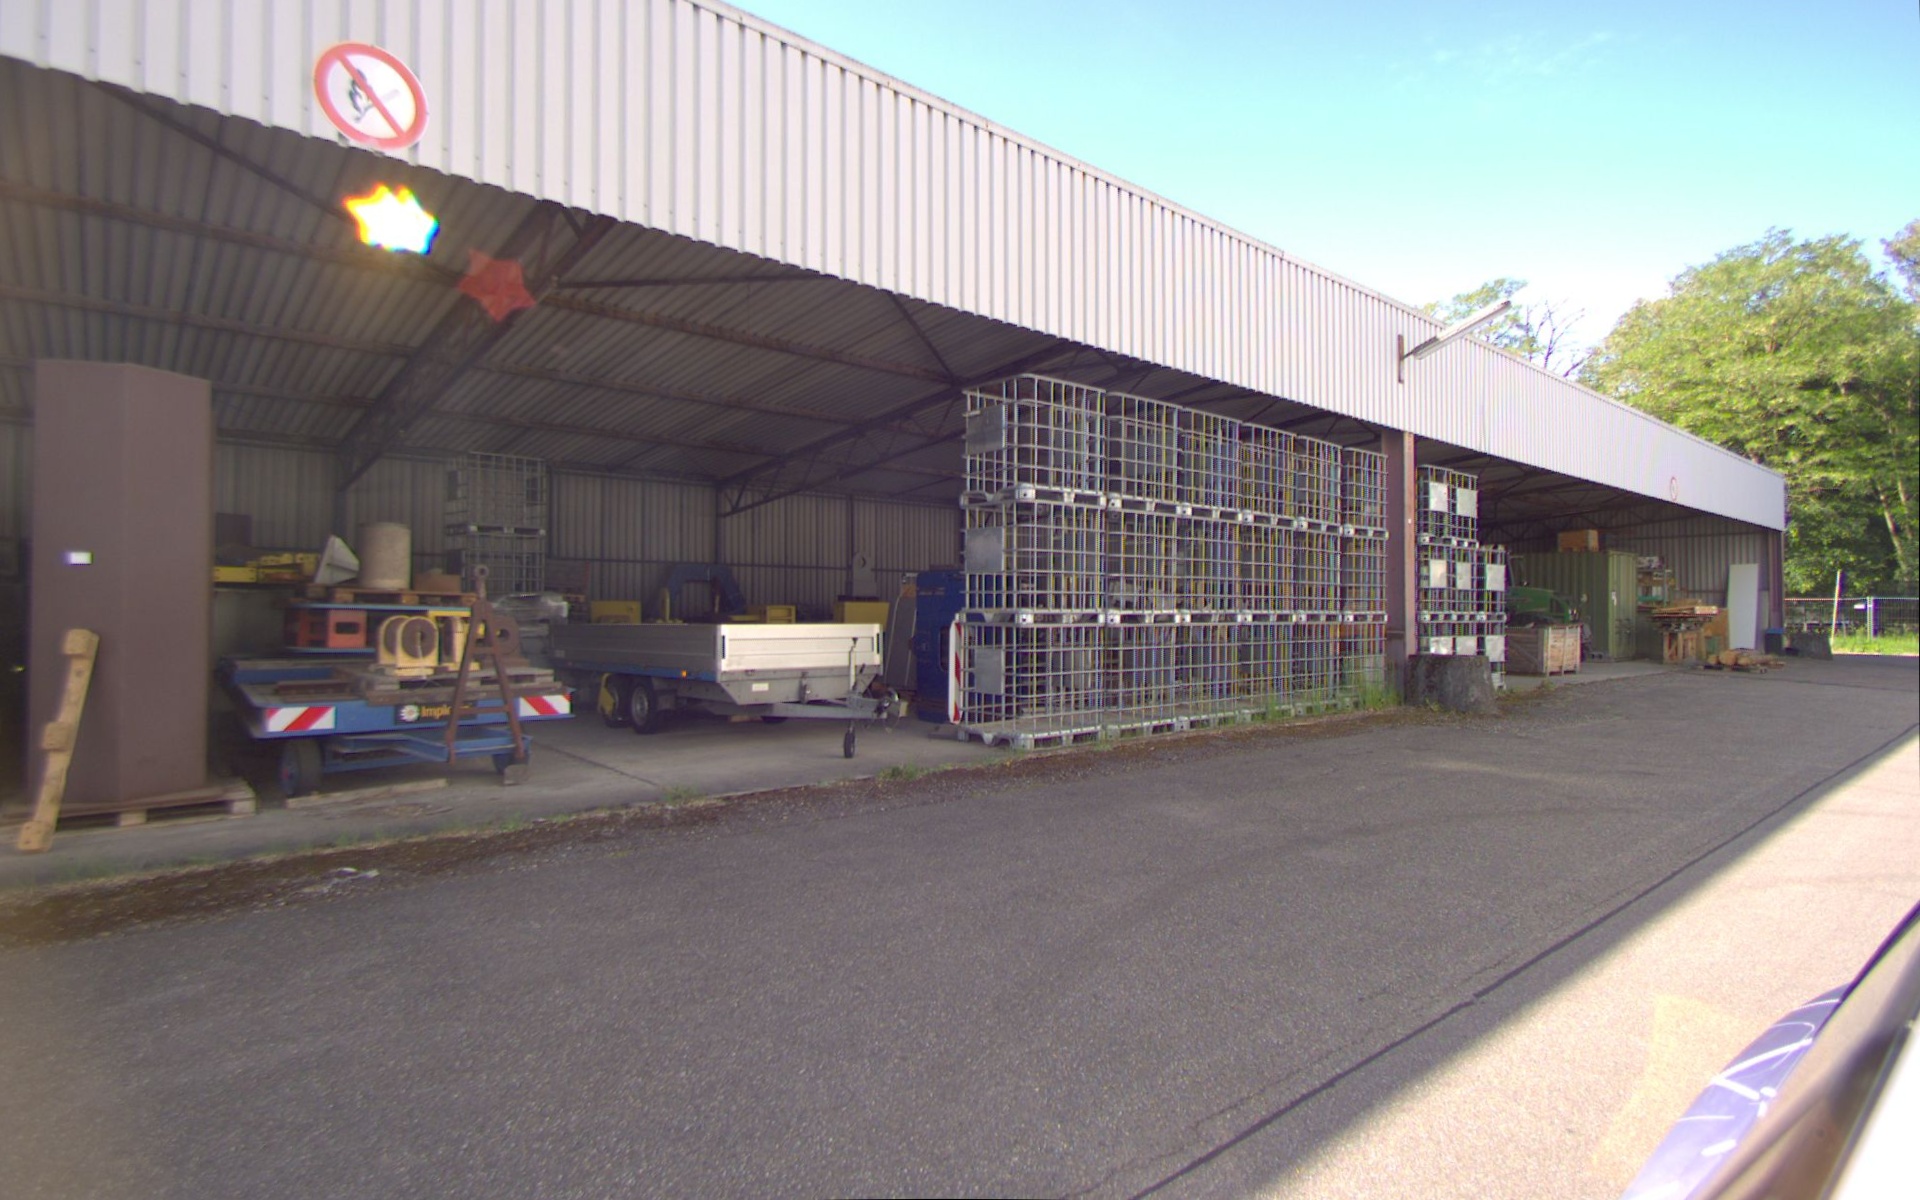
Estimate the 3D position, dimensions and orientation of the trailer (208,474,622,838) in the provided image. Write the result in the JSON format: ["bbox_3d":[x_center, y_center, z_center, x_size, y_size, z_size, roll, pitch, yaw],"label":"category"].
[{"bbox_3d":[-4.532,0.277,8.009,2.124,2.015,4.433,0,1,-39],"label":"trailer"}]

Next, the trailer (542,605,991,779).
[{"bbox_3d":[-2.338,0.714,10.488,1.940,1.200,5.737,0,1,-41],"label":"trailer"}]

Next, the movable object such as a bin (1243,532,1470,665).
[{"bbox_3d":[9.476,-0.023,24.456,2.452,2.867,4.535,1,-1,-40],"label":"movable object such as a bin"}]

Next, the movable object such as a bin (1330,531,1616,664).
[{"bbox_3d":[12.760,-0.051,25.551,2.770,2.962,5.845,1,-1,-40],"label":"movable object such as a bin"}]
